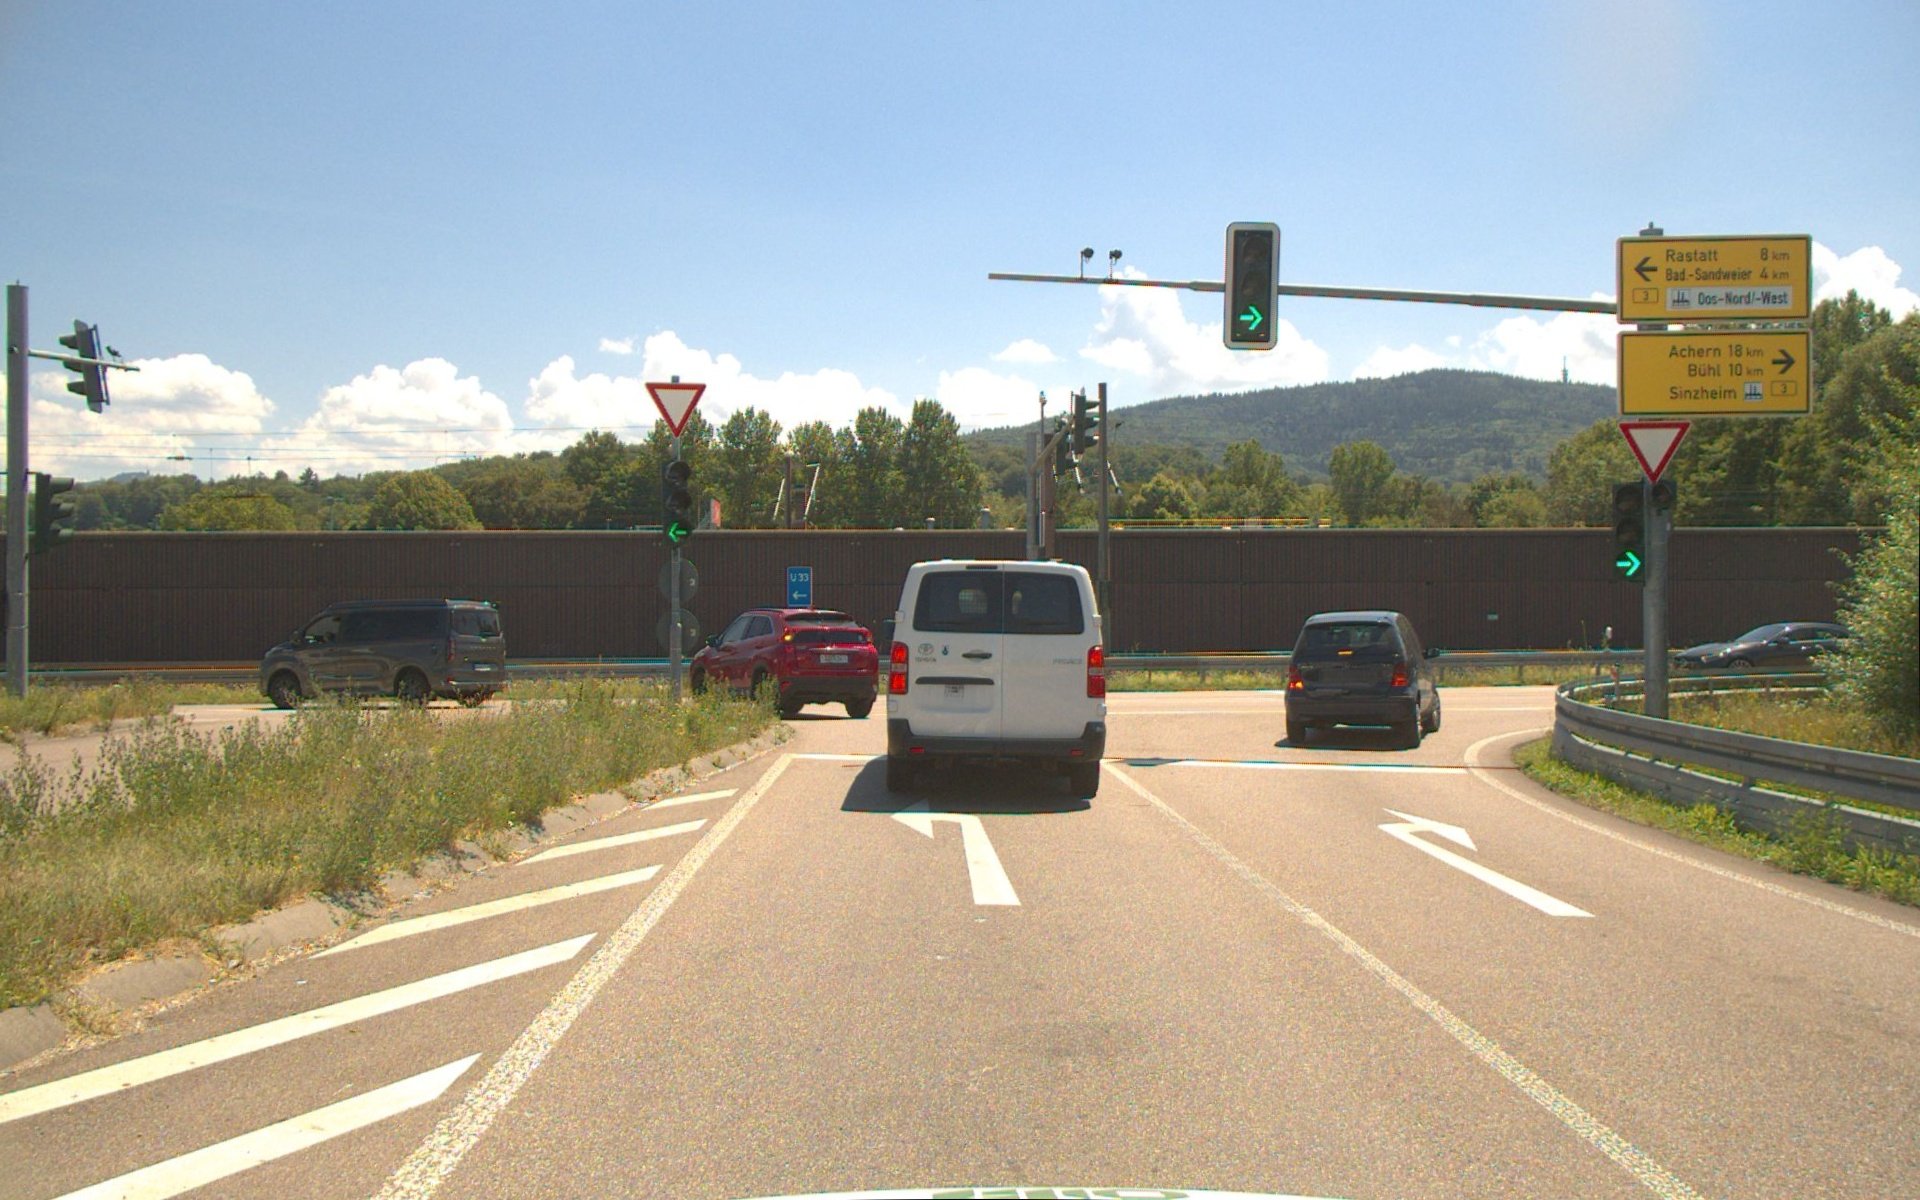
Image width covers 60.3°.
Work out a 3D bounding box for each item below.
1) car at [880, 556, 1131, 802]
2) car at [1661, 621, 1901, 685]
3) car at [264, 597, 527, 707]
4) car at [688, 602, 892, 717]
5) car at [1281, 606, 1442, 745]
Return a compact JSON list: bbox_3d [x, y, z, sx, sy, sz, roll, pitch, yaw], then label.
[{"bbox_3d":[0.249,0.643,15.485,1.907,1.914,4.877,1,-1,-3],"label":"car"},{"bbox_3d":[18.693,1.205,37.771,4.540,1.388,1.911,0,-2,-4],"label":"car"},{"bbox_3d":[-11.167,1.047,32.766,4.667,2.058,2.014,-1,-2,18],"label":"car"},{"bbox_3d":[-2.790,0.947,26.304,1.883,1.678,4.104,0,-2,-27],"label":"car"},{"bbox_3d":[5.300,0.921,21.544,1.604,1.625,3.561,1,-1,21],"label":"car"}]
